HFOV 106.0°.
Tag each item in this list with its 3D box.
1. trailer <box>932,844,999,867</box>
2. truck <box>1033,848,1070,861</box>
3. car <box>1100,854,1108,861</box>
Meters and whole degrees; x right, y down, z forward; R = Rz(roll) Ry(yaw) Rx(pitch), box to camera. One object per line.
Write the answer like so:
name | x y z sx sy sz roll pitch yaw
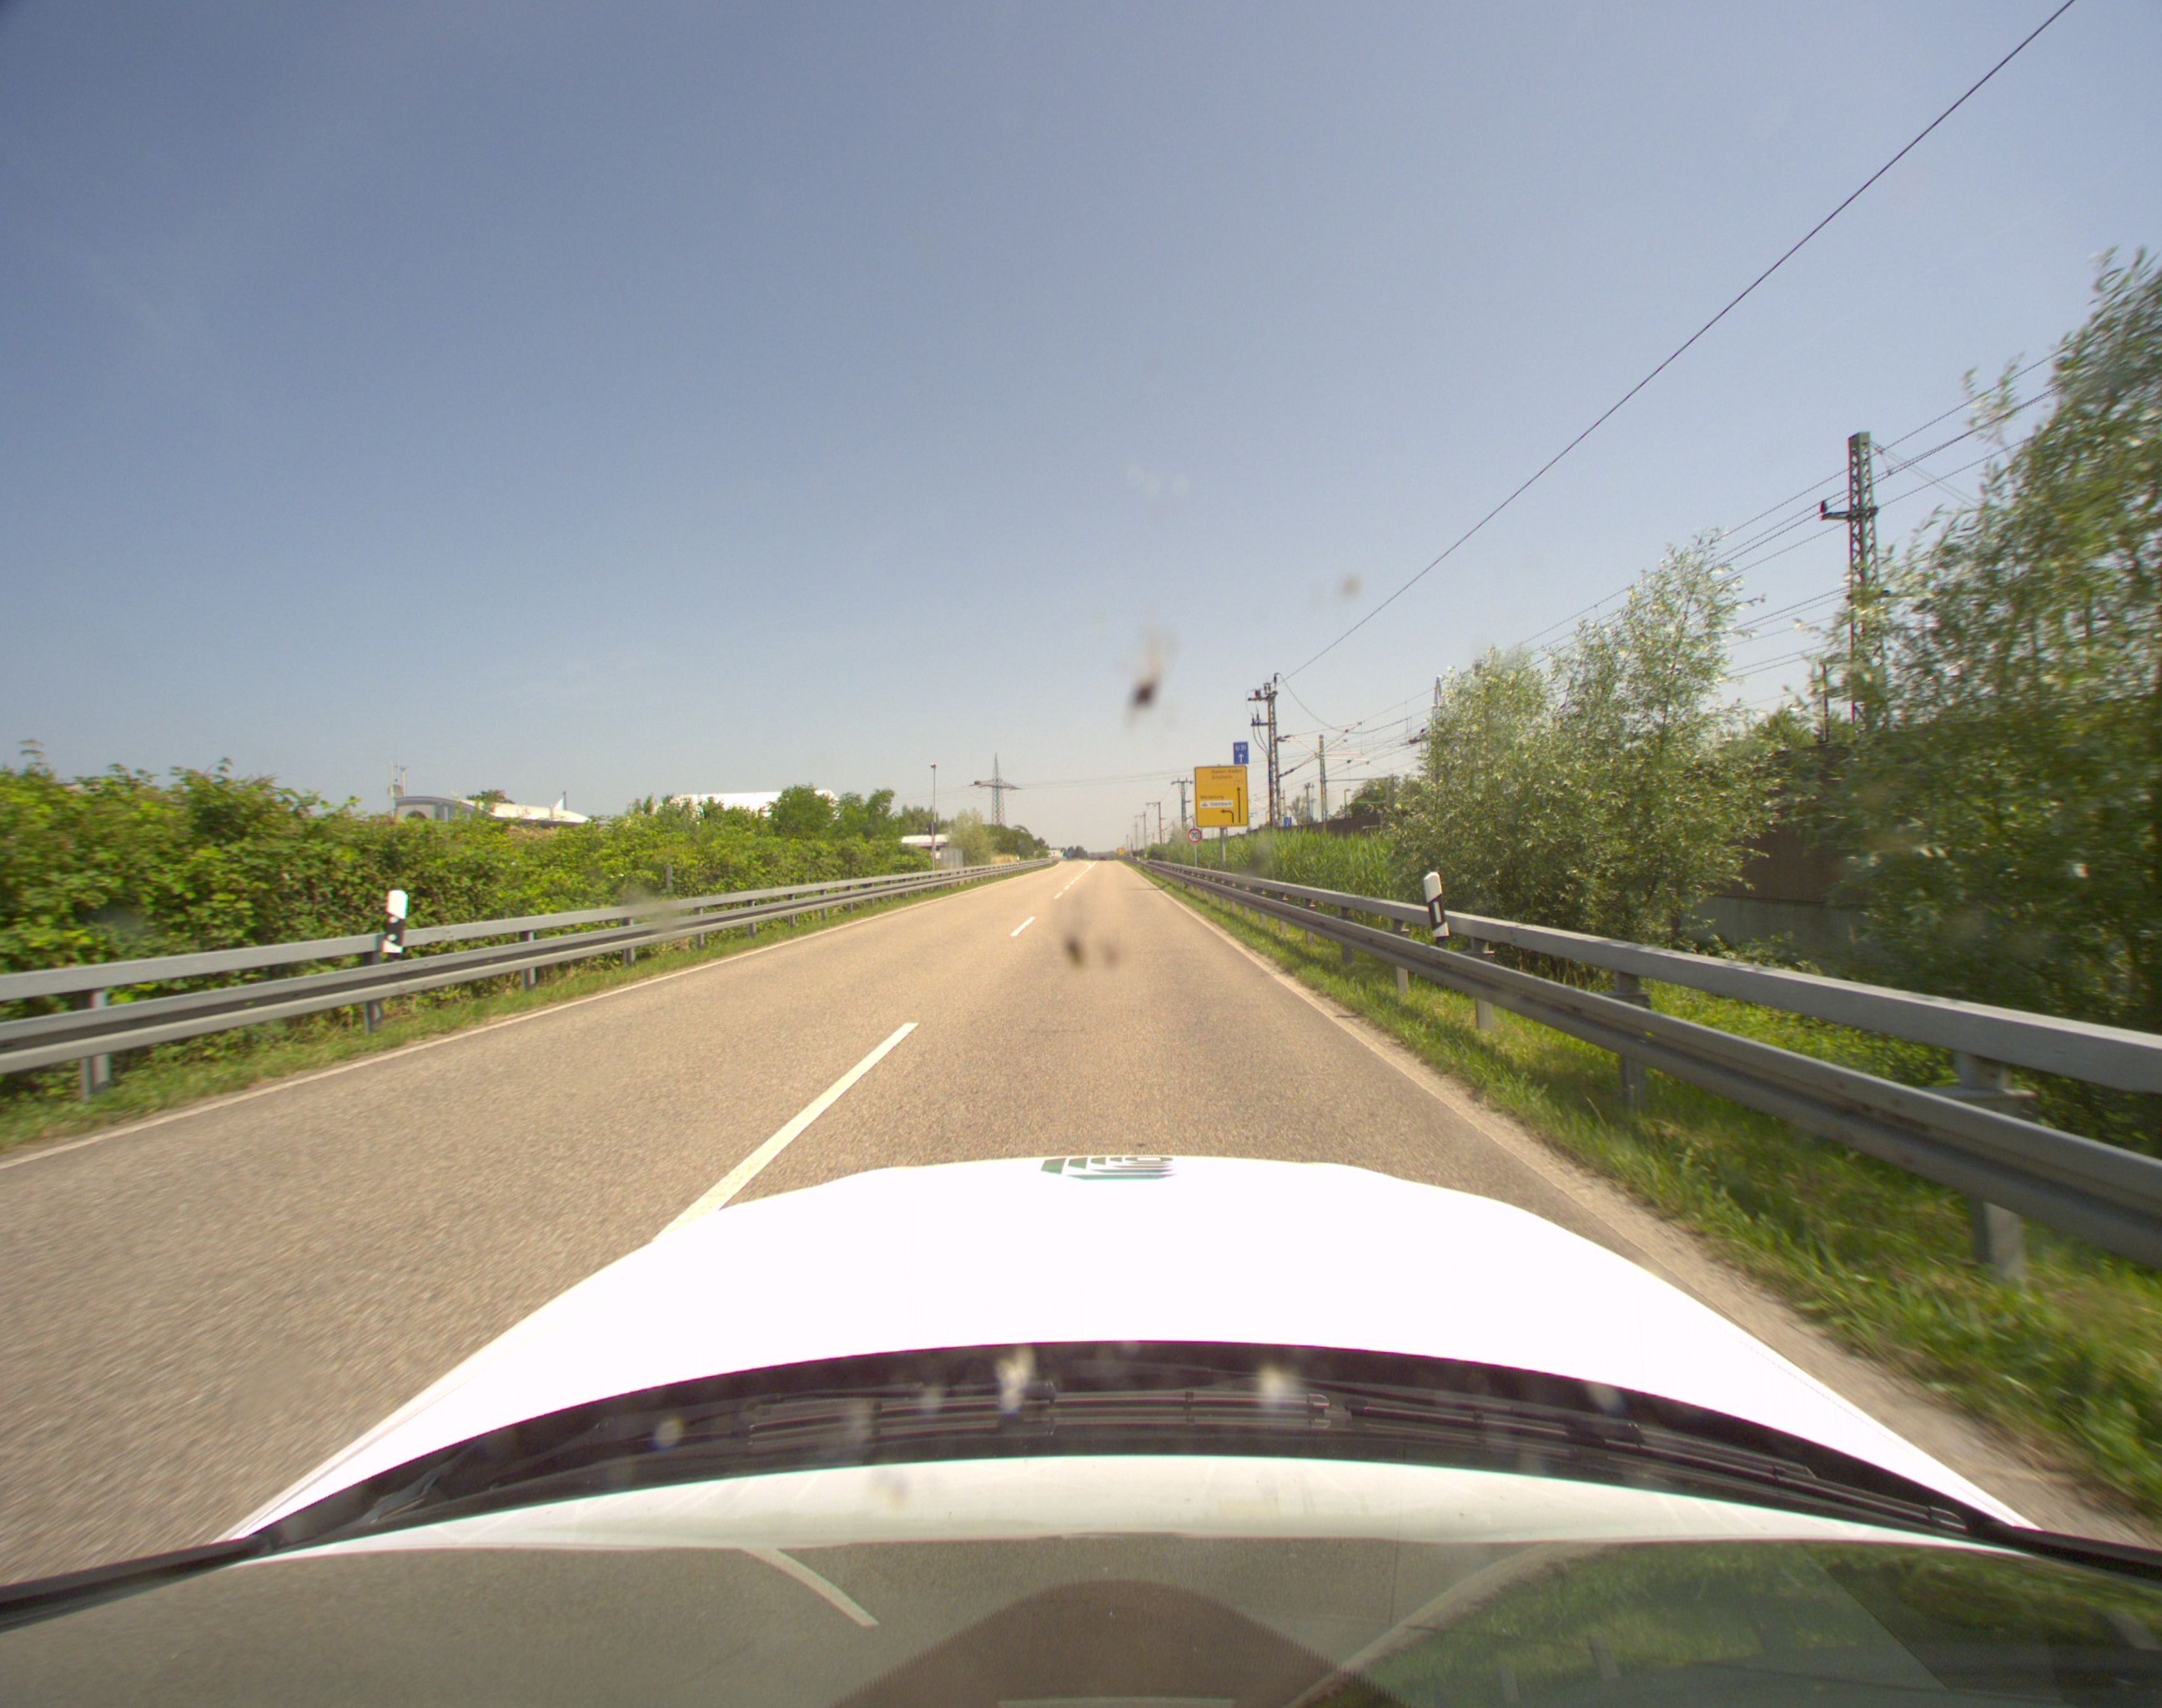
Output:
trailer | -9.882 0.147 70.217 5.368 1.848 2.544 -1 0 0
truck | -8.492 0.246 234.580 10.381 3.632 2.844 0 0 -1
car | 7.150 1.138 253.877 1.988 2.013 3.997 -1 0 -2
